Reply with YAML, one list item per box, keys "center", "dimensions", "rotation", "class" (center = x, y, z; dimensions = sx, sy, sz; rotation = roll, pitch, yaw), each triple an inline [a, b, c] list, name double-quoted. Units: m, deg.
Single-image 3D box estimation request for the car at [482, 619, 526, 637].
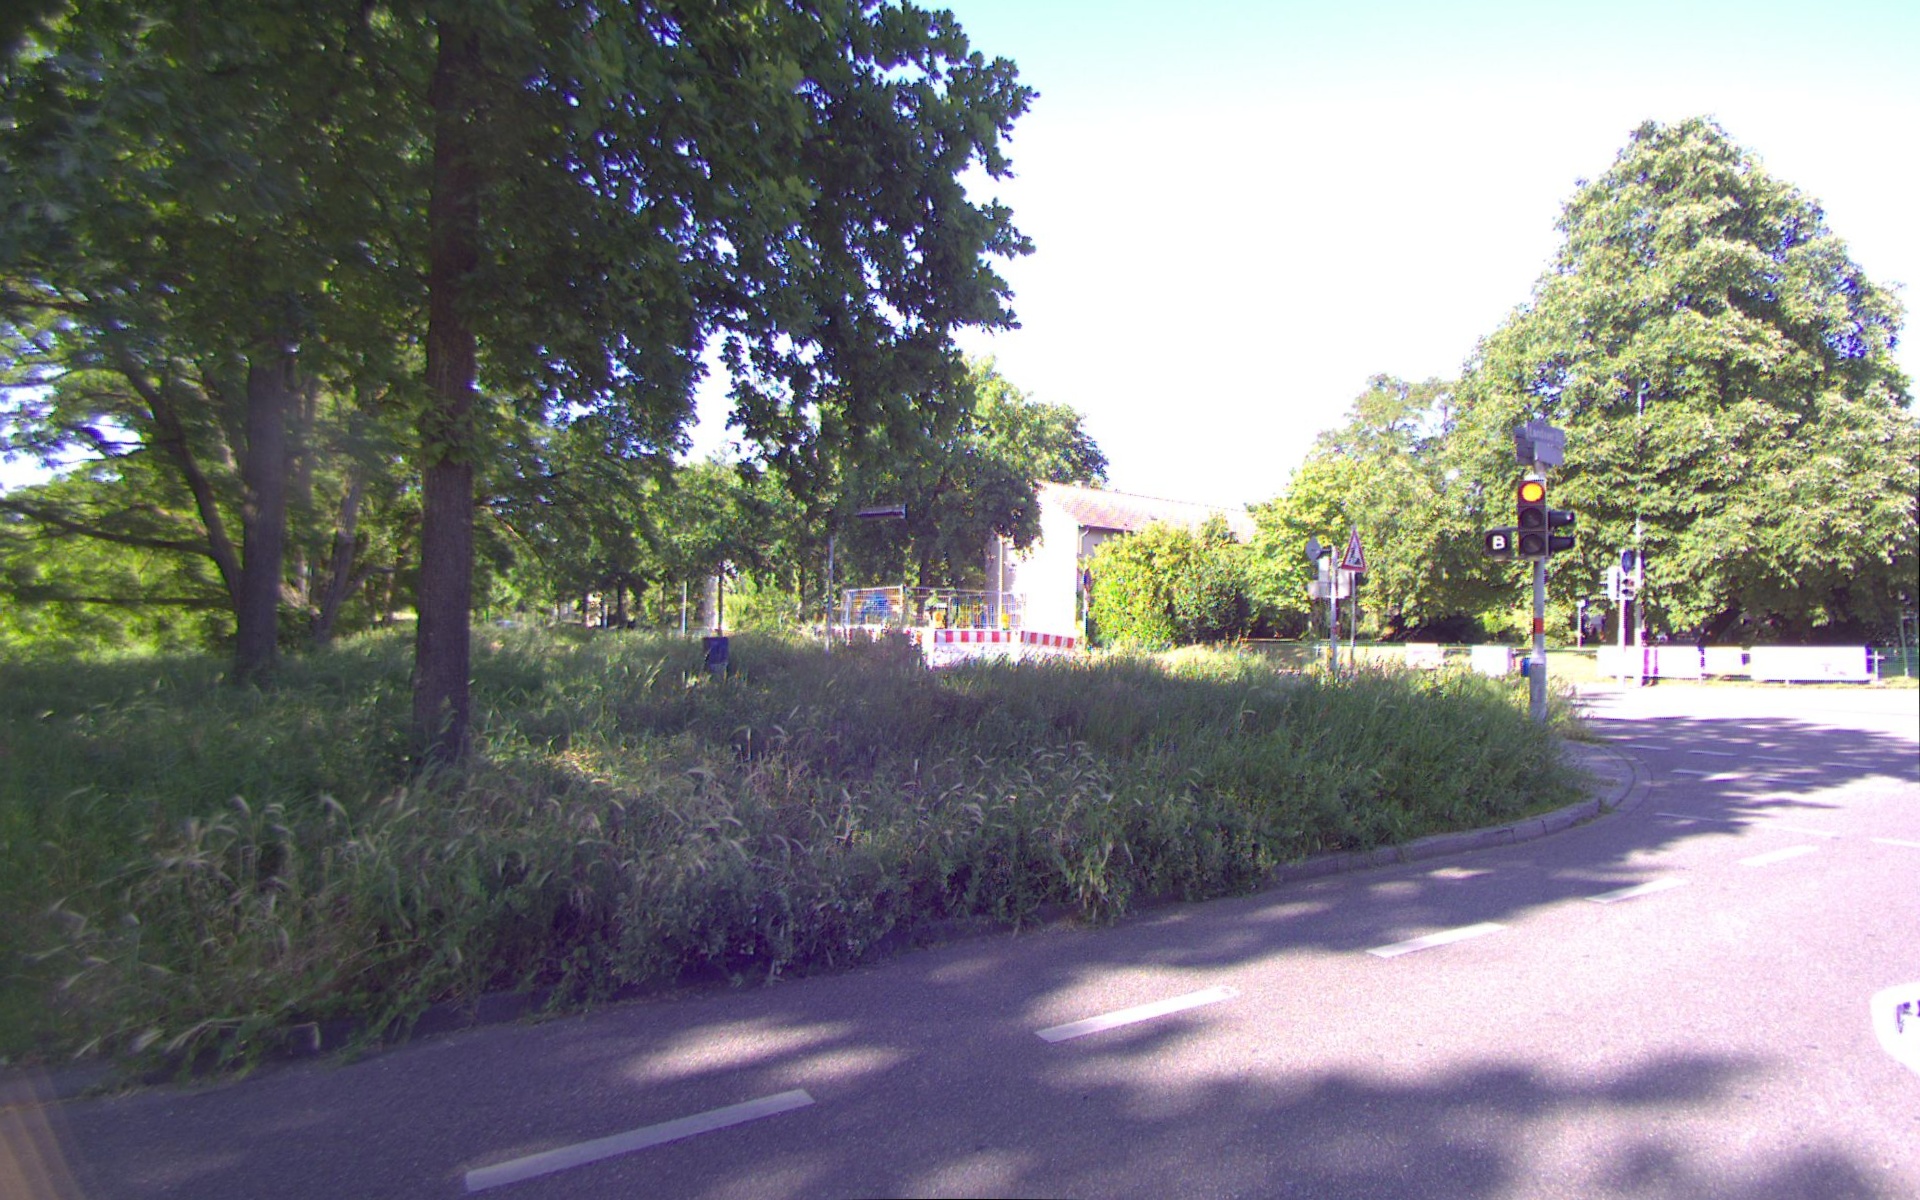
- center: [-47.385, 2.889, 104.479]
  dimensions: [3.939, 1.673, 1.991]
  rotation: [2, 0, -20]
  class: "car"
